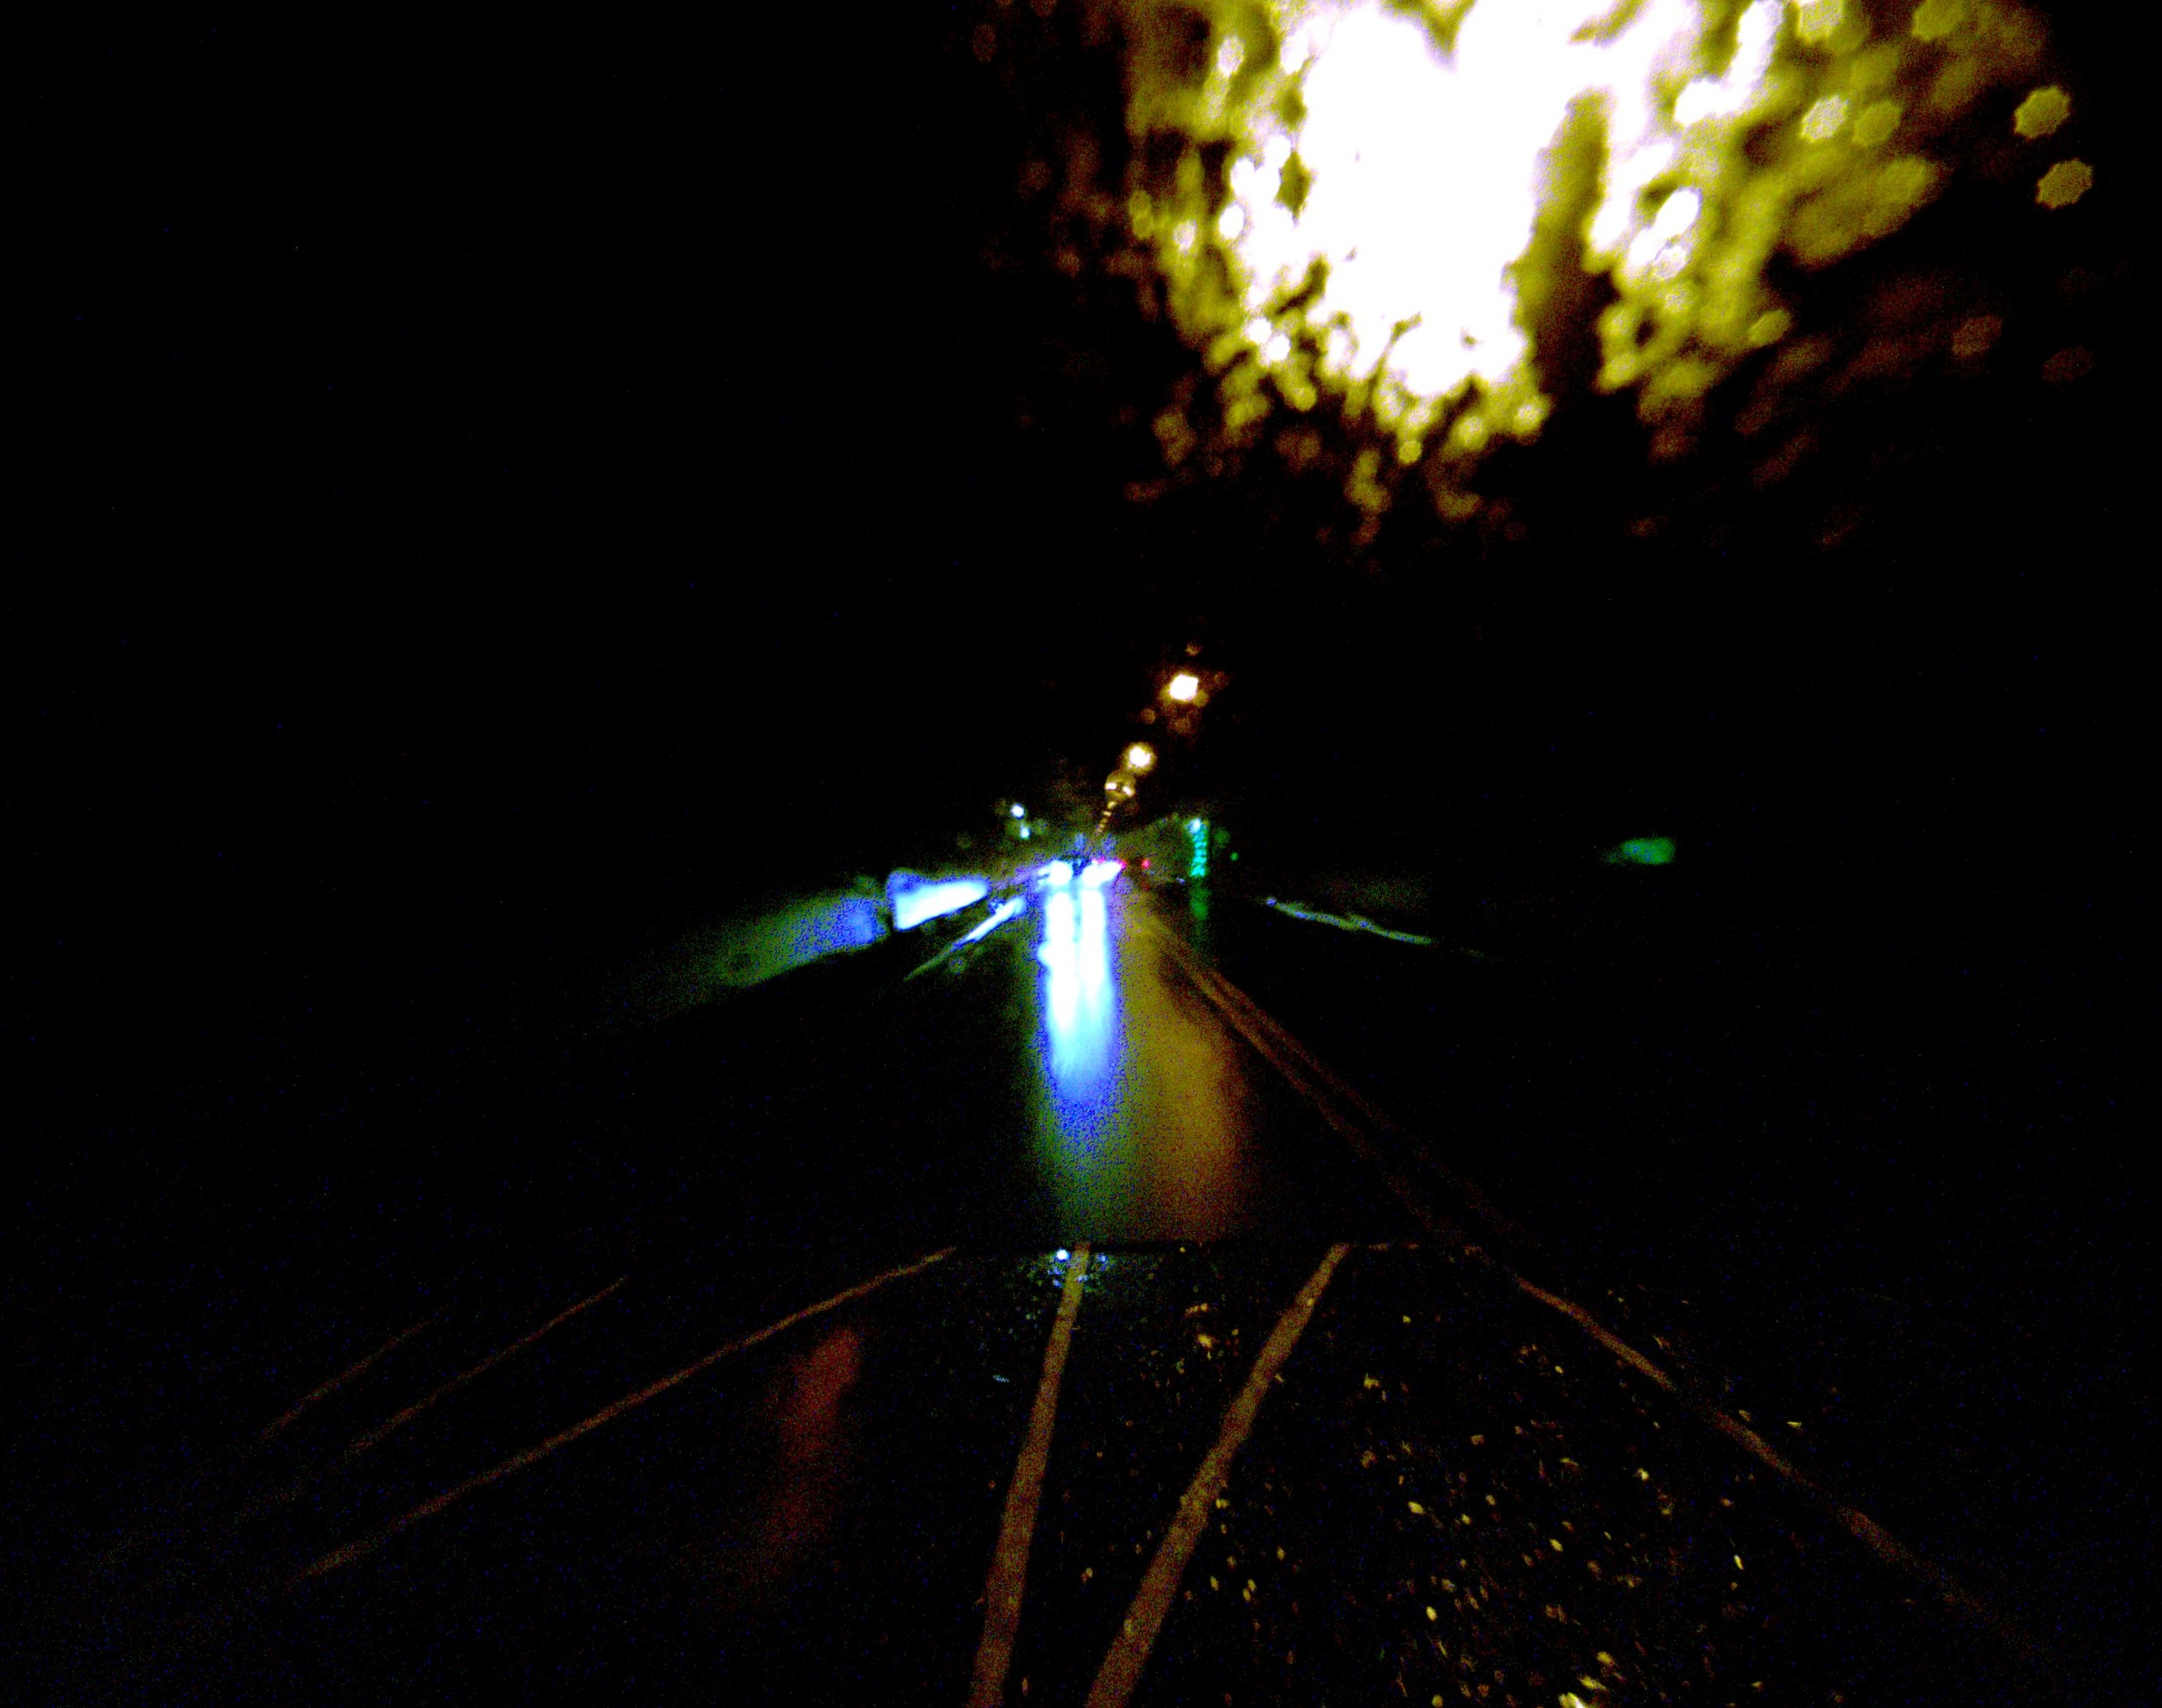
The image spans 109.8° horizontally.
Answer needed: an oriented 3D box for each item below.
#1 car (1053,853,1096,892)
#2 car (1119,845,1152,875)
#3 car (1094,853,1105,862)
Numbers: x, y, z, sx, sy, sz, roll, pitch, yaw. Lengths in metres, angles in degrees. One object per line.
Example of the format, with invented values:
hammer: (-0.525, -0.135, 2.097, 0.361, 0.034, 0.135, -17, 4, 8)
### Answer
car: (-0.258, 0.800, 35.018, 1.829, 1.650, 3.929, -1, 0, 0)
car: (3.865, 0.407, 54.933, 2.090, 2.002, 4.559, -2, 0, 1)
car: (3.275, 0.591, 135.632, 1.998, 1.410, 4.713, -1, 0, 0)
